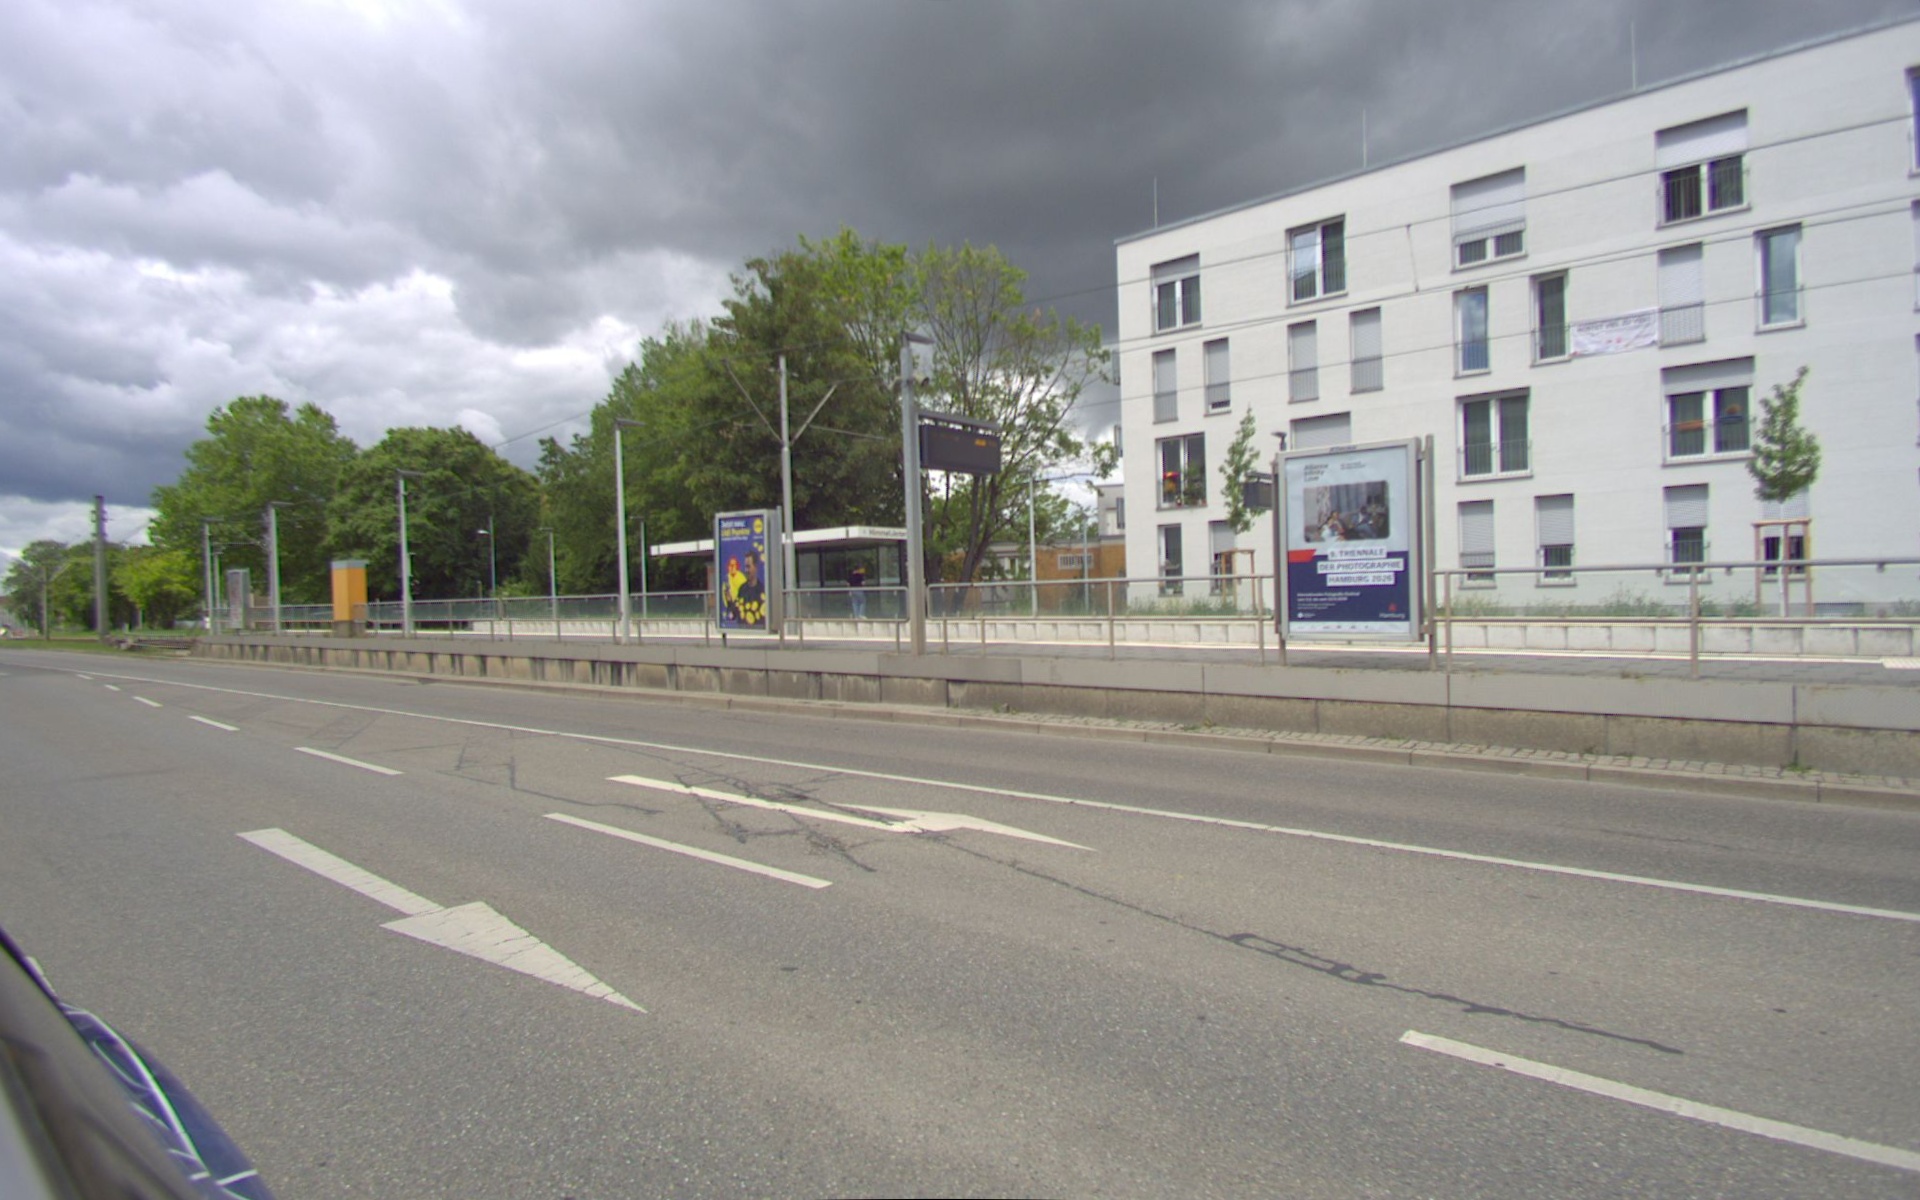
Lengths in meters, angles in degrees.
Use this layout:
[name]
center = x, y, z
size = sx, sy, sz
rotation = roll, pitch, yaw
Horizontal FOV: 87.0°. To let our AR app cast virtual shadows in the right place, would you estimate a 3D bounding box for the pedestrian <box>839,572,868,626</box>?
[pedestrian]
center = -3.134, -0.032, 29.907
size = 0.733, 1.542, 0.546
rotation = -2, 0, 2
